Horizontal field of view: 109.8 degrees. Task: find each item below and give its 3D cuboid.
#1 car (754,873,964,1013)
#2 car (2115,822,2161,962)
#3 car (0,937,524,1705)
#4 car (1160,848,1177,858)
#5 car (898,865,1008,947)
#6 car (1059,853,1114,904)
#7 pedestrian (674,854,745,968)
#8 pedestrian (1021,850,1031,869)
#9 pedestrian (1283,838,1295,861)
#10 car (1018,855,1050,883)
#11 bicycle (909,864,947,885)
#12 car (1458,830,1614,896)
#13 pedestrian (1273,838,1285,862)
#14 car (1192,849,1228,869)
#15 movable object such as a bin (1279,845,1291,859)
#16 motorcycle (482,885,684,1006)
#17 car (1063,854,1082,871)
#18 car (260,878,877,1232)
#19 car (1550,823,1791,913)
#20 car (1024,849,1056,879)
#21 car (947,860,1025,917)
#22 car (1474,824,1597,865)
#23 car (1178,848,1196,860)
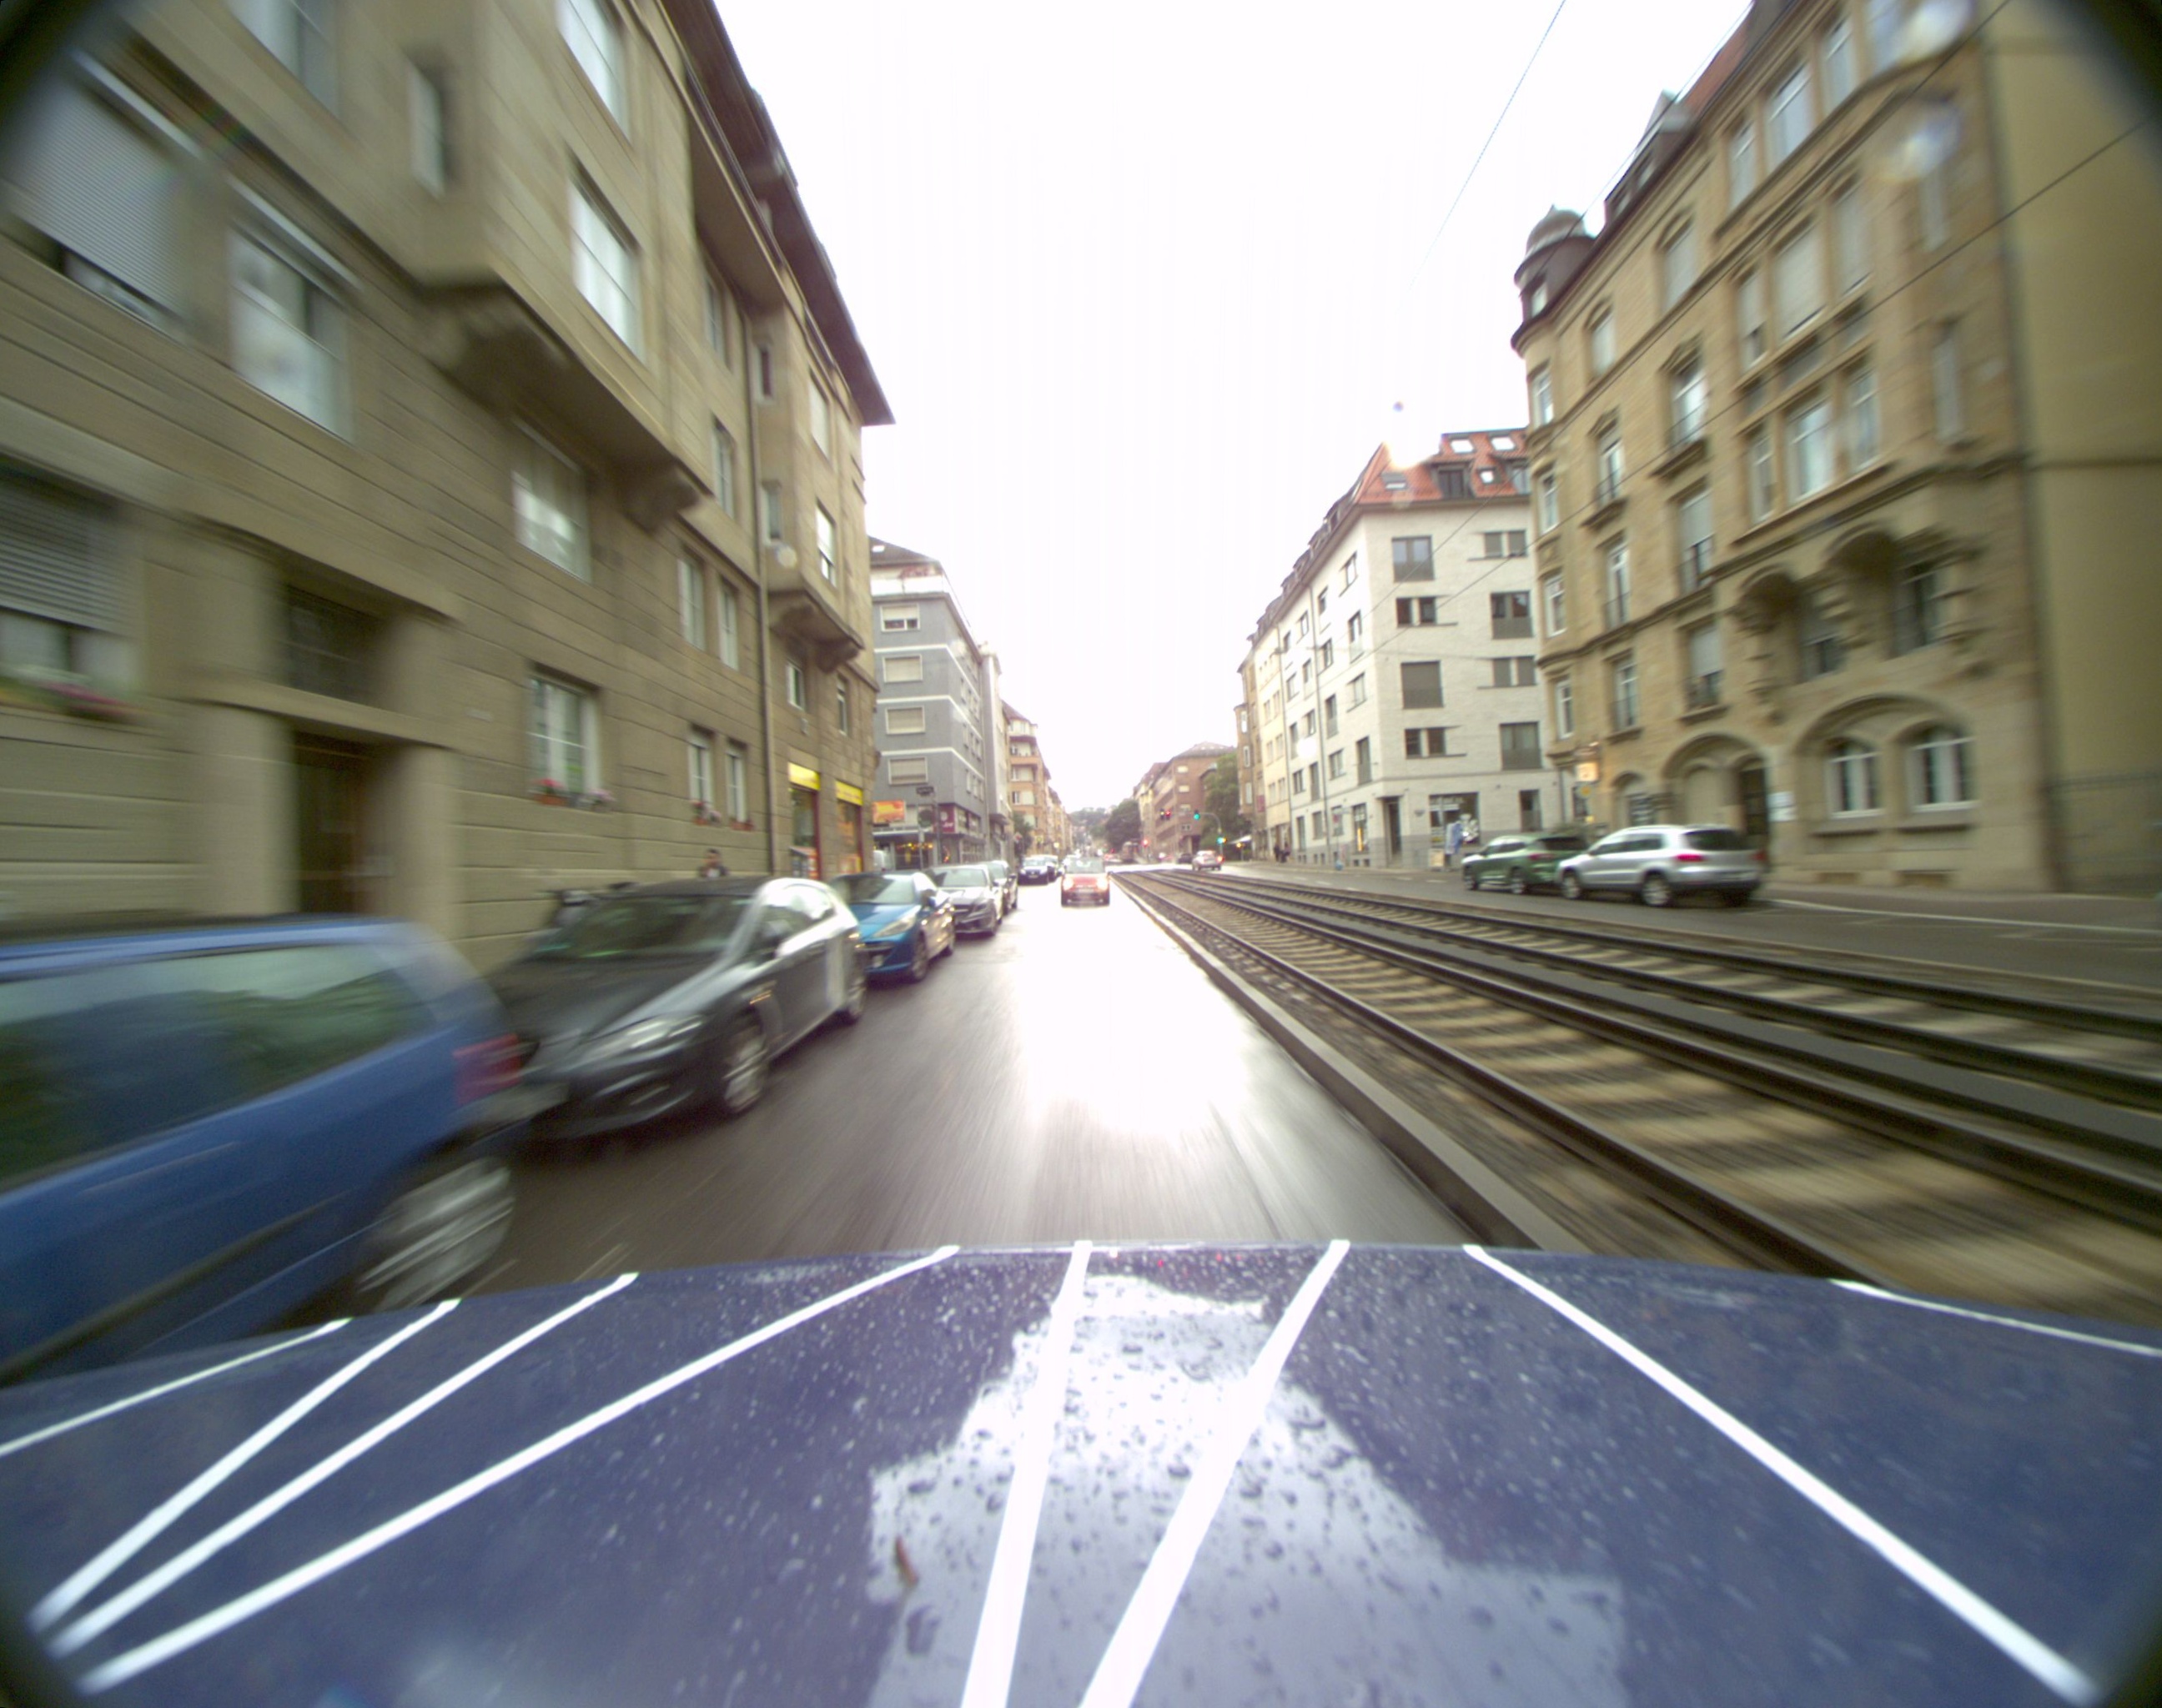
[{"bbox_3d":[-2.798,1.046,10.536,1.711,1.390,4.017,-2,0,-1],"label":"car"},{"bbox_3d":[12.428,0.390,6.365,1.875,1.499,4.169,-2,0,0],"label":"car"},{"bbox_3d":[-3.007,1.069,1.291,1.548,1.407,3.445,-2,0,-1],"label":"car"},{"bbox_3d":[13.179,-0.188,114.825,2.093,1.449,4.860,-1,0,2],"label":"car"},{"bbox_3d":[-2.552,0.981,16.105,1.759,1.379,4.484,-1,0,-3],"label":"car"},{"bbox_3d":[0.181,0.770,25.744,1.683,1.531,4.018,-2,0,0],"label":"car"},{"bbox_3d":[-5.174,0.772,10.625,0.562,1.526,0.710,-2,1,1],"label":"pedestrian"},{"bbox_3d":[-5.350,0.550,73.917,0.852,1.807,0.847,-1,1,1],"label":"pedestrian"},{"bbox_3d":[15.713,-0.357,57.286,0.603,1.708,0.658,-5,1,3],"label":"pedestrian"},{"bbox_3d":[-2.691,0.832,43.297,1.696,1.474,3.928,-1,0,-4],"label":"car"},{"bbox_3d":[-7.700,1.046,38.237,1.753,0.967,0.533,-3,1,2],"label":"bicycle"},{"bbox_3d":[12.531,0.214,21.315,1.863,1.592,4.430,-2,0,2],"label":"car"},{"bbox_3d":[14.957,-0.318,57.326,0.603,1.708,0.746,-5,1,3],"label":"pedestrian"},{"bbox_3d":[9.910,0.342,58.704,1.986,1.448,4.293,-2,0,-1],"label":"car"},{"bbox_3d":[16.246,-0.170,60.472,0.631,1.074,0.563,-7,1,0],"label":"movable object such as a bin"},{"bbox_3d":[-6.237,1.069,9.798,0.707,1.192,2.746,-2,0,1],"label":"motorcycle"},{"bbox_3d":[-0.987,1.021,92.655,2.135,2.002,4.328,-2,0,1],"label":"car"},{"bbox_3d":[-2.962,1.016,5.638,1.792,1.454,4.083,-2,0,-1],"label":"car"},{"bbox_3d":[12.517,0.259,16.569,1.863,1.643,4.314,-2,0,-1],"label":"car"},{"bbox_3d":[-2.569,0.614,48.537,1.797,1.750,4.565,-2,0,0],"label":"car"},{"bbox_3d":[-2.620,0.923,21.724,1.675,1.435,3.790,-1,0,1],"label":"car"},{"bbox_3d":[21.657,-0.451,36.325,4.704,1.718,2.034,-2,1,-2],"label":"car"},{"bbox_3d":[12.811,-0.048,91.868,1.708,1.379,3.781,-2,0,2],"label":"car"}]
